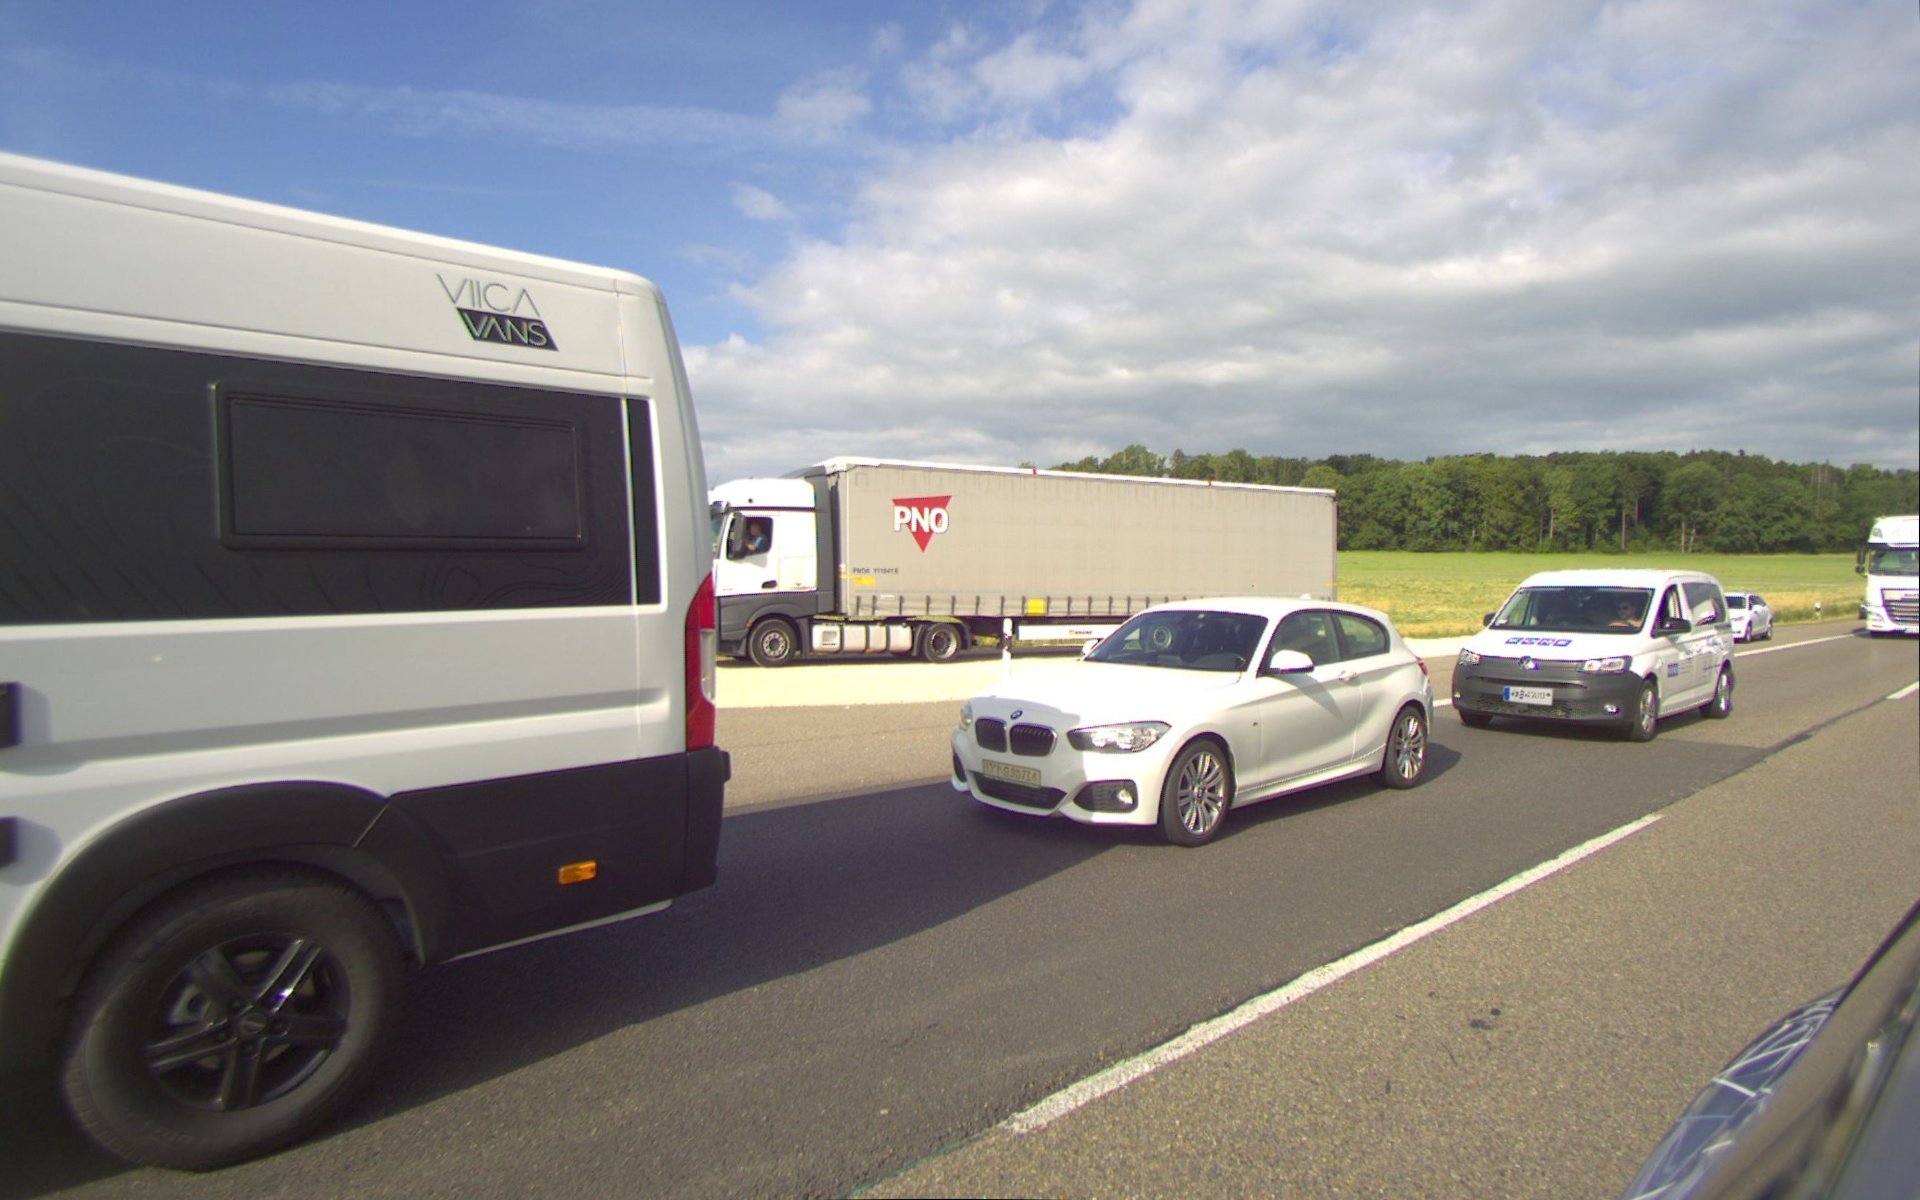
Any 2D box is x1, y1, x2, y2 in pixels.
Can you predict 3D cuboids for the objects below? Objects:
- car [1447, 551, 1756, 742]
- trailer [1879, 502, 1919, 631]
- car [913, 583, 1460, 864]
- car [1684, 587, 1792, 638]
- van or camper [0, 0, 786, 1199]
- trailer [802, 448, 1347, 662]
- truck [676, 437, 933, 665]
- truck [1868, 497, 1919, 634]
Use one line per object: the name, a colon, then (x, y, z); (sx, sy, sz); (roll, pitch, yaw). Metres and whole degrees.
car: (7.484, 0.415, 11.602); (4.620, 1.779, 1.727); (0, 0, -41)
trailer: (36.633, -1.228, 37.172); (13.777, 4.212, 2.739); (-1, 1, -41)
car: (1.813, 0.617, 7.242); (4.158, 1.450, 1.706); (0, 0, -41)
car: (23.616, 0.325, 30.665); (4.551, 1.450, 1.869); (0, 1, -43)
van or camper: (-3.655, 0.000, 2.241); (6.222, 2.714, 2.219); (0, 1, -41)
trailer: (3.188, -0.901, 24.097); (13.543, 4.213, 2.748); (0, 0, -26)
truck: (-3.247, -0.917, 20.951); (4.662, 4.226, 2.727); (0, 0, -26)
truck: (31.904, -1.115, 32.997); (5.667, 4.226, 2.733); (-1, 1, -41)
